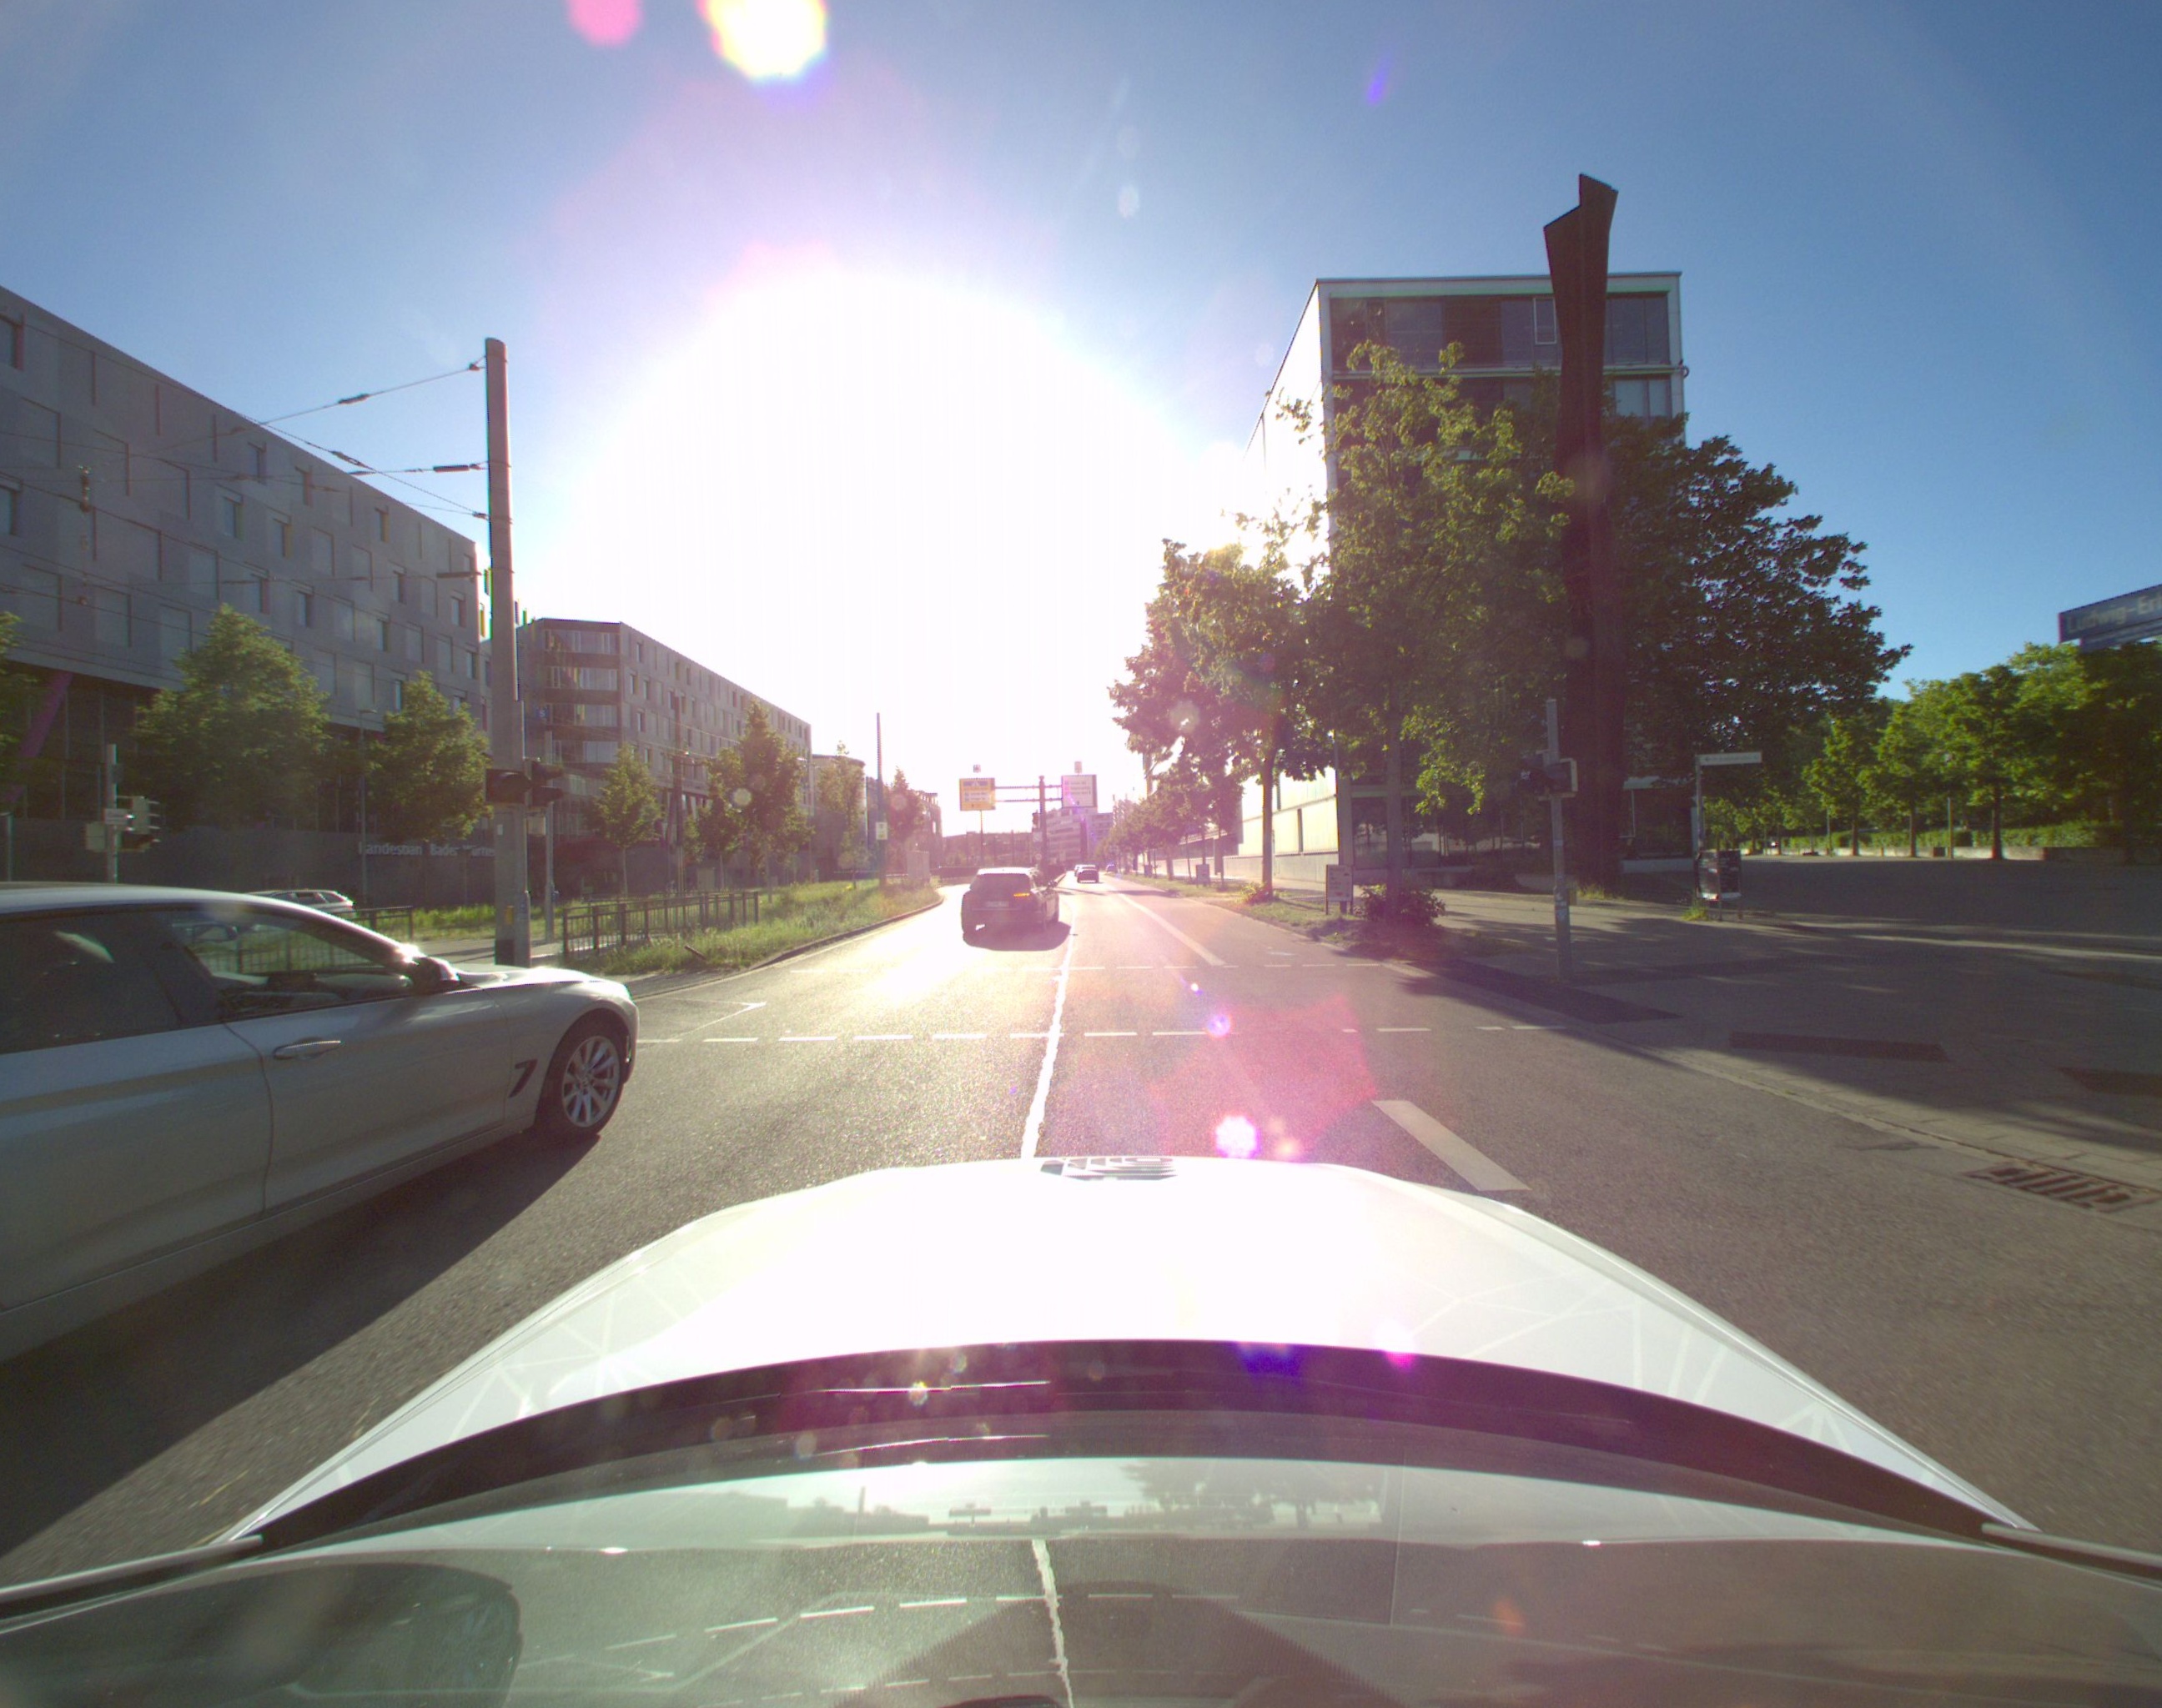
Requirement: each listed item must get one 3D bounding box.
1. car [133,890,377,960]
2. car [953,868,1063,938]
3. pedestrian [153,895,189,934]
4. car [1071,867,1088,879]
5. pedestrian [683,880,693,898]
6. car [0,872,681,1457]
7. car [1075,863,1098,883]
[{"bbox_3d":[-23.006,1.914,23.045,1.988,1.562,4.868,-2,-1,-2],"label":"car"},{"bbox_3d":[-1.595,1.077,19.476,1.804,1.427,4.695,-2,-1,4],"label":"car"},{"bbox_3d":[-43.675,2.887,39.082,0.718,1.822,0.871,-2,-1,0],"label":"pedestrian"},{"bbox_3d":[-0.219,2.403,105.502,1.988,1.465,3.997,-1,0,-2],"label":"car"},{"bbox_3d":[-44.922,4.008,93.075,0.733,2.014,0.689,-2,-2,0],"label":"pedestrian"},{"bbox_3d":[-3.696,0.838,3.041,1.791,1.527,4.913,0,-1,2],"label":"car"},{"bbox_3d":[0.435,1.514,66.228,1.847,1.546,3.999,0,-1,0],"label":"car"}]
